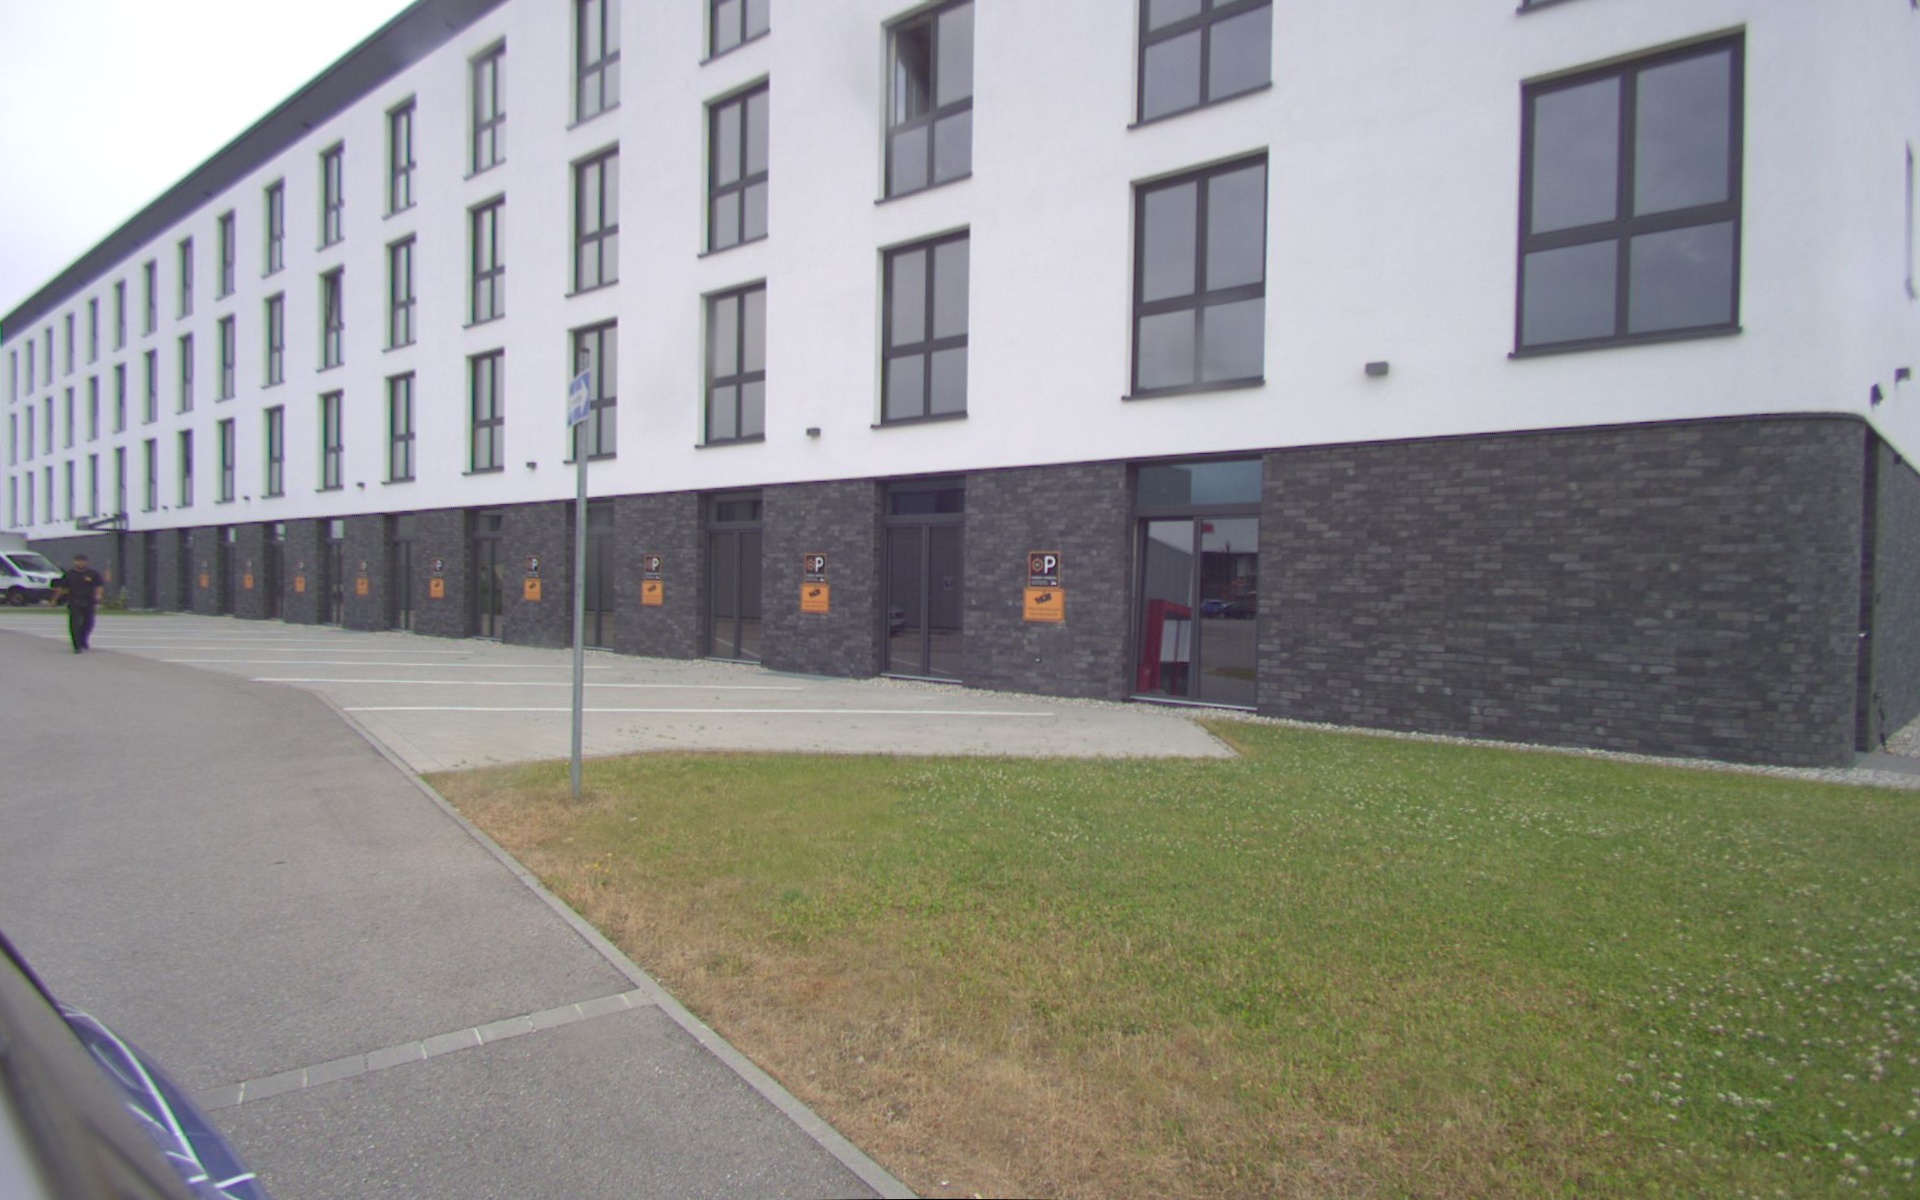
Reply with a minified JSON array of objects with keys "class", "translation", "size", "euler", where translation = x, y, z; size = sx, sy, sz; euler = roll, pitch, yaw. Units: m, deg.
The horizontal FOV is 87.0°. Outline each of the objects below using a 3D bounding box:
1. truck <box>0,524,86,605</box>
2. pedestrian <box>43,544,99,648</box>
[{"class":"truck","translation":[-38.680,-1.435,39.493],"size":[6.968,3.039,2.438],"euler":[1,2,-1]},{"class":"pedestrian","translation":[-16.117,-0.077,18.344],"size":[0.813,1.836,0.699],"euler":[2,1,44]}]
